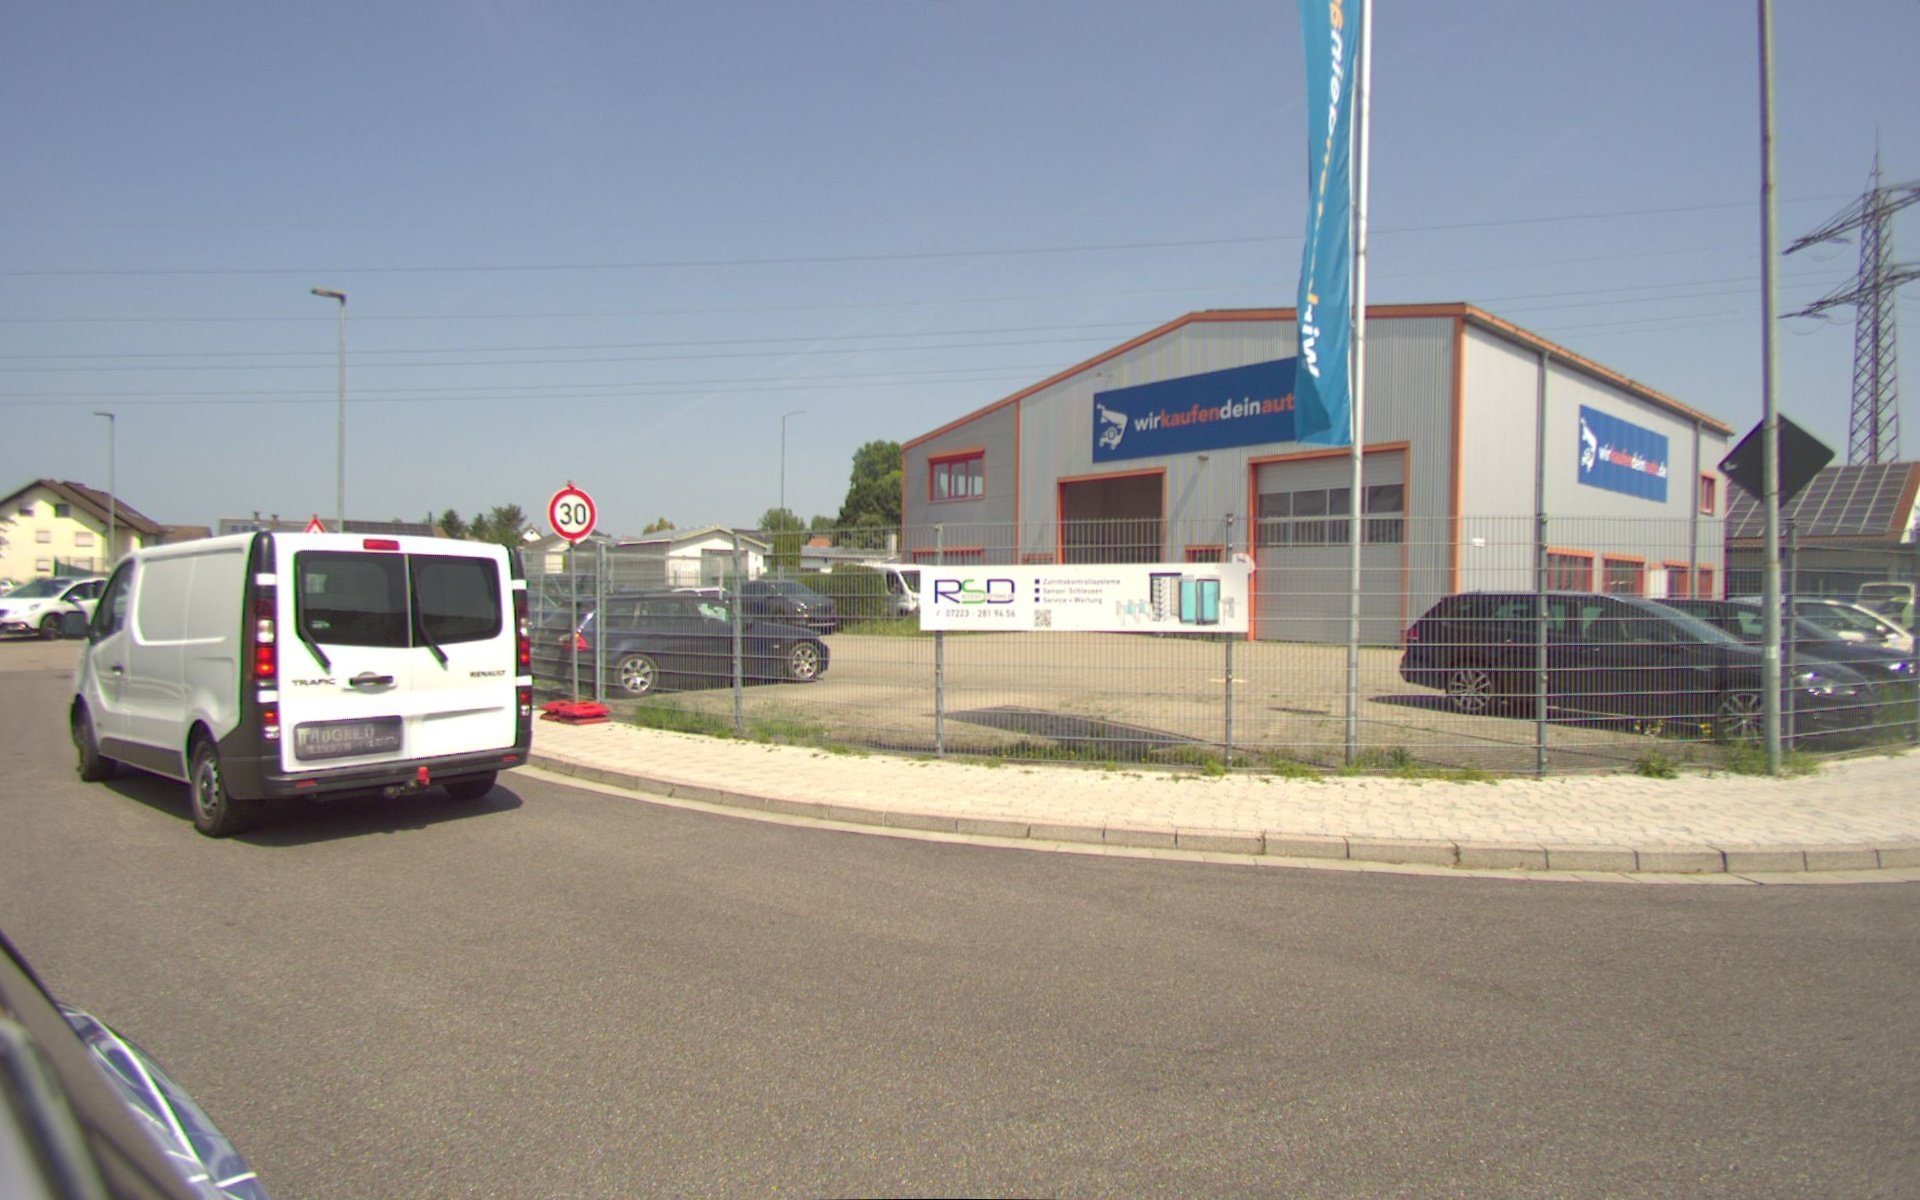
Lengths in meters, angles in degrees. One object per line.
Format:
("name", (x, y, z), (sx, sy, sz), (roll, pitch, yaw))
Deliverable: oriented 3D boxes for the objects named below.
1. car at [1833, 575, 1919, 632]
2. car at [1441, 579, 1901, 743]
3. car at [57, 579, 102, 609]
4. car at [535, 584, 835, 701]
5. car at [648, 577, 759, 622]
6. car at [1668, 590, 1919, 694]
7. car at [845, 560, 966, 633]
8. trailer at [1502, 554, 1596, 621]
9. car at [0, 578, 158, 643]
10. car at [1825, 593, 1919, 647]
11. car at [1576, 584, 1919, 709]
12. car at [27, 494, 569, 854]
("car", (34.328, 0.144, 37.747), (4.607, 2.029, 2.003), (1, -1, -40))
("car", (7.819, 0.555, 11.404), (1.749, 1.514, 4.003), (0, 0, -44))
("car", (-46.884, -0.328, 53.921), (1.747, 1.514, 4.169), (0, 0, -40))
("car", (-3.992, 0.526, 15.065), (3.939, 1.514, 1.777), (-1, 1, -42))
("car", (-8.787, -0.033, 34.443), (1.870, 1.431, 4.204), (0, 0, -43))
("car", (13.196, 0.593, 15.597), (3.466, 1.475, 1.577), (1, 1, 24))
("car", (-1.828, -0.126, 32.854), (1.967, 2.212, 4.334), (0, 0, -34))
("trailer", (26.899, -0.532, 46.133), (5.045, 2.870, 2.172), (1, 1, -42))
("car", (-23.255, 0.214, 26.082), (1.752, 1.514, 4.158), (2, 1, 3))
("car", (27.969, 0.570, 29.290), (4.054, 1.505, 1.736), (1, 1, 14))
("car", (11.017, 0.557, 14.032), (3.999, 1.514, 1.750), (0, 0, 42))
("car", (-5.423, 0.474, 8.066), (4.802, 2.076, 1.985), (-1, -2, 35))
